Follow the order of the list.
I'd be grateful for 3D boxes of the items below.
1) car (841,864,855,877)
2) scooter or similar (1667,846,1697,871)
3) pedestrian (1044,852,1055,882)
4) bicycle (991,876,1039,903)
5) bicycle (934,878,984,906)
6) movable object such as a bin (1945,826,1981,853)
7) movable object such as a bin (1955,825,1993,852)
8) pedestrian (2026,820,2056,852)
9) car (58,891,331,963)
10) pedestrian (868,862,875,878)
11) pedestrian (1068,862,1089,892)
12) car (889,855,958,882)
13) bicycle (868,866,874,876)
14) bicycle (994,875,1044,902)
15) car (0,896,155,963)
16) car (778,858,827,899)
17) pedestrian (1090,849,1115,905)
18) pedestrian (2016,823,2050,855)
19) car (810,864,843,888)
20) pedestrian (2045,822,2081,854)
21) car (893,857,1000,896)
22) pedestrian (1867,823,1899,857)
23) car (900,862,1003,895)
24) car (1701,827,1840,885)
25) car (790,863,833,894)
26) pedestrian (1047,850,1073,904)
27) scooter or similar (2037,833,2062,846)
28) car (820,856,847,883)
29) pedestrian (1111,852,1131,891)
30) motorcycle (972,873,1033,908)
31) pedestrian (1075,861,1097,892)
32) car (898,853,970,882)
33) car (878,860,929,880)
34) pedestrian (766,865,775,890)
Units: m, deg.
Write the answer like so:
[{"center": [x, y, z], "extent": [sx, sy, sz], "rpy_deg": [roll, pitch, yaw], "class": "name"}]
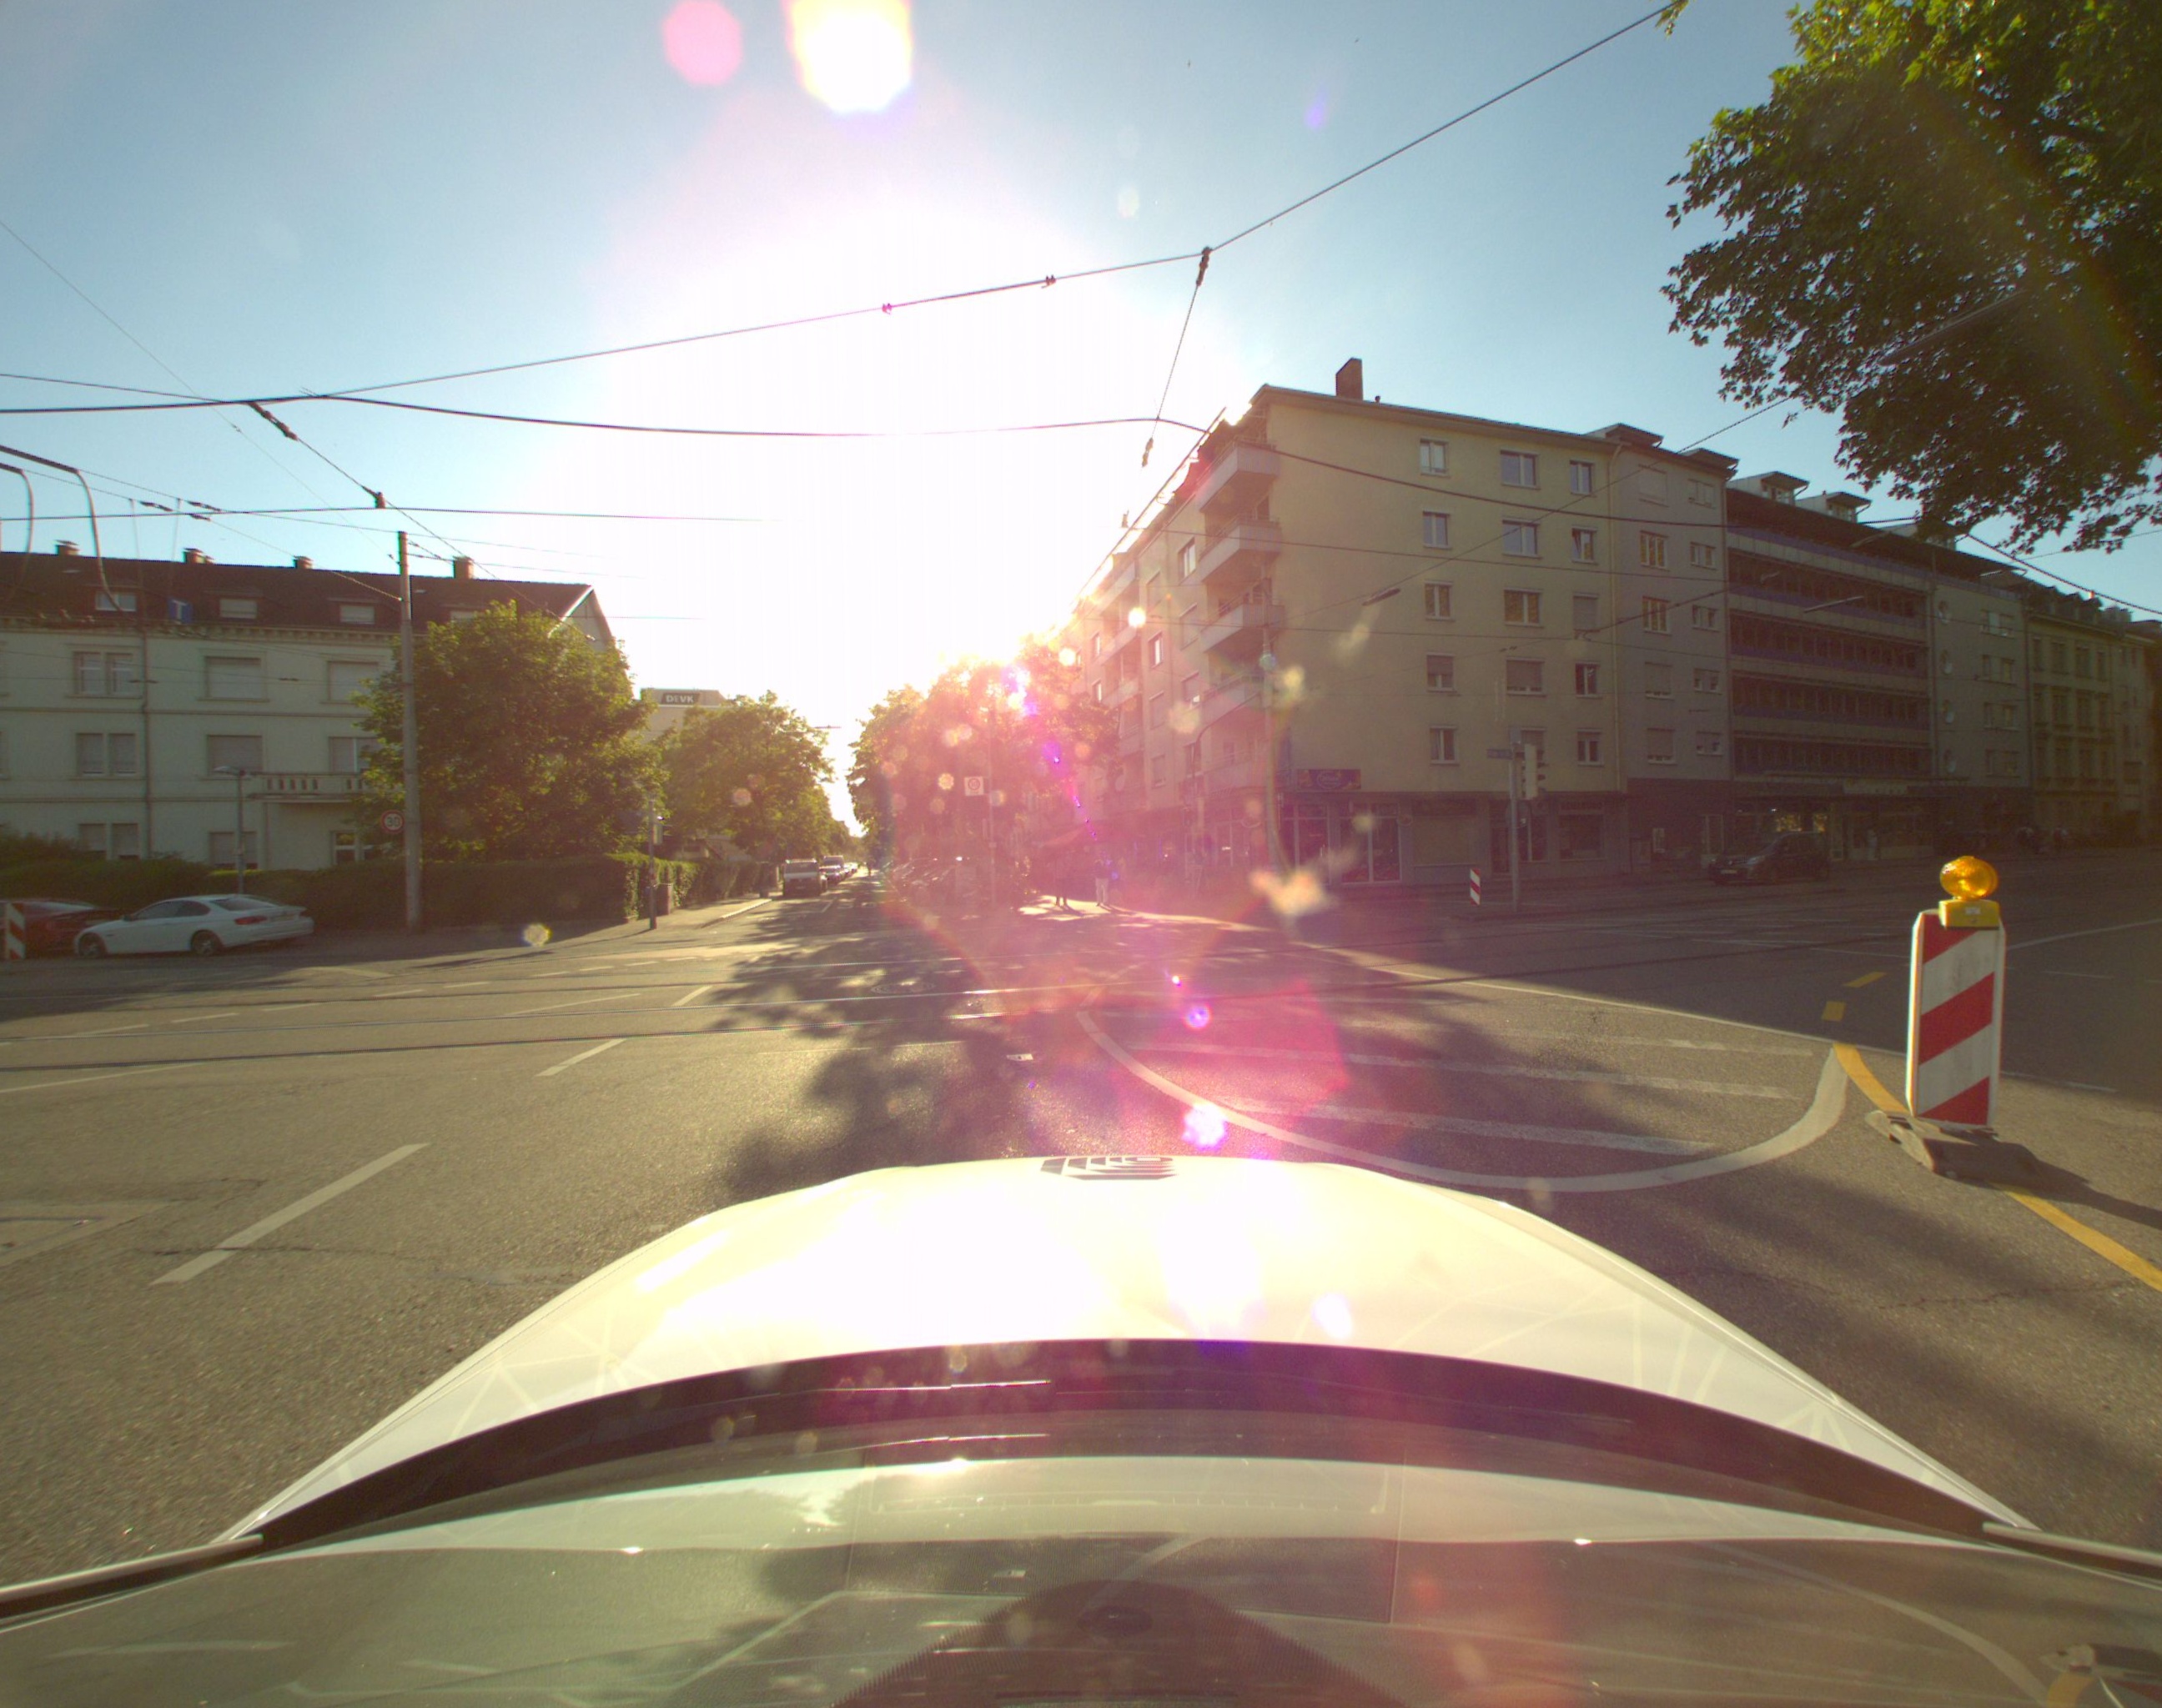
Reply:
[{"center": [-35.024, 2.474, 122.379], "extent": [1.998, 1.689, 3.976], "rpy_deg": [2, -3, -17], "class": "car"}, {"center": [24.789, 0.185, 33.576], "extent": [1.436, 0.954, 0.463], "rpy_deg": [-2, -1, -30], "class": "scooter or similar"}, {"center": [-2.129, 0.870, 54.446], "extent": [0.538, 2.014, 0.508], "rpy_deg": [-1, -1, -23], "class": "pedestrian"}, {"center": [-2.493, 1.345, 30.765], "extent": [1.727, 0.932, 0.559], "rpy_deg": [-2, 0, -16], "class": "bicycle"}, {"center": [-4.494, 1.380, 29.925], "extent": [1.727, 0.932, 0.668], "rpy_deg": [-2, 0, -16], "class": "bicycle"}, {"center": [47.381, -0.771, 43.742], "extent": [1.147, 1.428, 1.007], "rpy_deg": [-2, 0, -28], "class": "movable object such as a bin"}, {"center": [48.671, -0.839, 44.380], "extent": [1.258, 1.428, 1.008], "rpy_deg": [-2, 0, -23], "class": "movable object such as a bin"}, {"center": [56.989, -1.087, 48.332], "extent": [0.789, 1.864, 0.889], "rpy_deg": [-1, -1, -19], "class": "pedestrian"}, {"center": [-21.141, 1.708, 19.567], "extent": [4.464, 1.376, 1.932], "rpy_deg": [-2, 2, 2], "class": "car"}, {"center": [-27.272, 2.049, 106.098], "extent": [0.738, 2.013, 0.739], "rpy_deg": [-2, -1, -14], "class": "pedestrian"}, {"center": [-0.143, 1.071, 38.567], "extent": [0.811, 1.362, 0.911], "rpy_deg": [-2, -1, -10], "class": "pedestrian"}, {"center": [-12.576, 1.186, 64.928], "extent": [5.105, 1.924, 2.347], "rpy_deg": [-2, -2, -19], "class": "car"}, {"center": [-27.321, 2.220, 106.076], "extent": [0.767, 1.324, 1.914], "rpy_deg": [-2, 0, -15], "class": "bicycle"}, {"center": [-2.292, 1.263, 30.029], "extent": [1.727, 0.932, 0.559], "rpy_deg": [-2, 0, -16], "class": "bicycle"}, {"center": [-26.290, 1.869, 19.998], "extent": [4.676, 1.376, 1.987], "rpy_deg": [-2, 2, -1], "class": "car"}, {"center": [-15.226, 1.310, 44.775], "extent": [2.361, 2.014, 5.277], "rpy_deg": [-2, 0, -18], "class": "car"}, {"center": [0.692, 0.728, 26.332], "extent": [0.690, 1.750, 0.839], "rpy_deg": [-2, -1, -4], "class": "pedestrian"}, {"center": [50.448, -0.780, 43.144], "extent": [1.036, 1.624, 0.888], "rpy_deg": [-1, -1, -23], "class": "pedestrian"}, {"center": [-20.442, 1.724, 65.341], "extent": [2.361, 1.795, 5.277], "rpy_deg": [-2, 0, -18], "class": "car"}, {"center": [51.149, -0.829, 42.428], "extent": [1.036, 1.624, 0.888], "rpy_deg": [-2, 0, -23], "class": "pedestrian"}, {"center": [-7.575, 1.249, 45.771], "extent": [5.636, 1.924, 2.347], "rpy_deg": [-2, -2, -19], "class": "car"}, {"center": [40.142, -0.699, 40.763], "extent": [1.234, 1.662, 1.020], "rpy_deg": [-2, -1, -43], "class": "pedestrian"}, {"center": [-6.912, 1.308, 43.278], "extent": [5.105, 1.557, 2.347], "rpy_deg": [-2, -2, -19], "class": "car"}, {"center": [23.576, 0.052, 27.850], "extent": [4.368, 1.806, 1.900], "rpy_deg": [-2, 0, -24], "class": "car"}, {"center": [-16.742, 1.492, 50.763], "extent": [2.361, 1.795, 5.277], "rpy_deg": [-2, 0, -18], "class": "car"}, {"center": [-0.704, 0.767, 27.145], "extent": [0.692, 1.750, 0.791], "rpy_deg": [-1, -1, -13], "class": "pedestrian"}, {"center": [50.342, -0.756, 42.336], "extent": [0.767, 0.648, 0.622], "rpy_deg": [-2, 0, -23], "class": "scooter or similar"}, {"center": [-24.531, 1.536, 80.602], "extent": [2.361, 2.514, 5.277], "rpy_deg": [-2, 0, -18], "class": "car"}, {"center": [1.701, 0.729, 34.429], "extent": [0.621, 1.591, 0.474], "rpy_deg": [-1, -1, -32], "class": "pedestrian"}, {"center": [-2.729, 1.263, 28.353], "extent": [1.959, 1.109, 0.831], "rpy_deg": [-2, -1, -21], "class": "motorcycle"}, {"center": [0.215, 1.008, 37.294], "extent": [0.811, 1.362, 0.911], "rpy_deg": [-2, -1, -10], "class": "pedestrian"}, {"center": [-11.179, 1.047, 61.987], "extent": [5.105, 1.924, 2.347], "rpy_deg": [-2, -2, -19], "class": "car"}, {"center": [-19.102, 1.717, 87.594], "extent": [5.105, 1.924, 2.347], "rpy_deg": [-2, -2, -19], "class": "car"}, {"center": [-21.846, 1.655, 57.334], "extent": [0.581, 1.731, 0.604], "rpy_deg": [-1, -1, -21], "class": "pedestrian"}]
